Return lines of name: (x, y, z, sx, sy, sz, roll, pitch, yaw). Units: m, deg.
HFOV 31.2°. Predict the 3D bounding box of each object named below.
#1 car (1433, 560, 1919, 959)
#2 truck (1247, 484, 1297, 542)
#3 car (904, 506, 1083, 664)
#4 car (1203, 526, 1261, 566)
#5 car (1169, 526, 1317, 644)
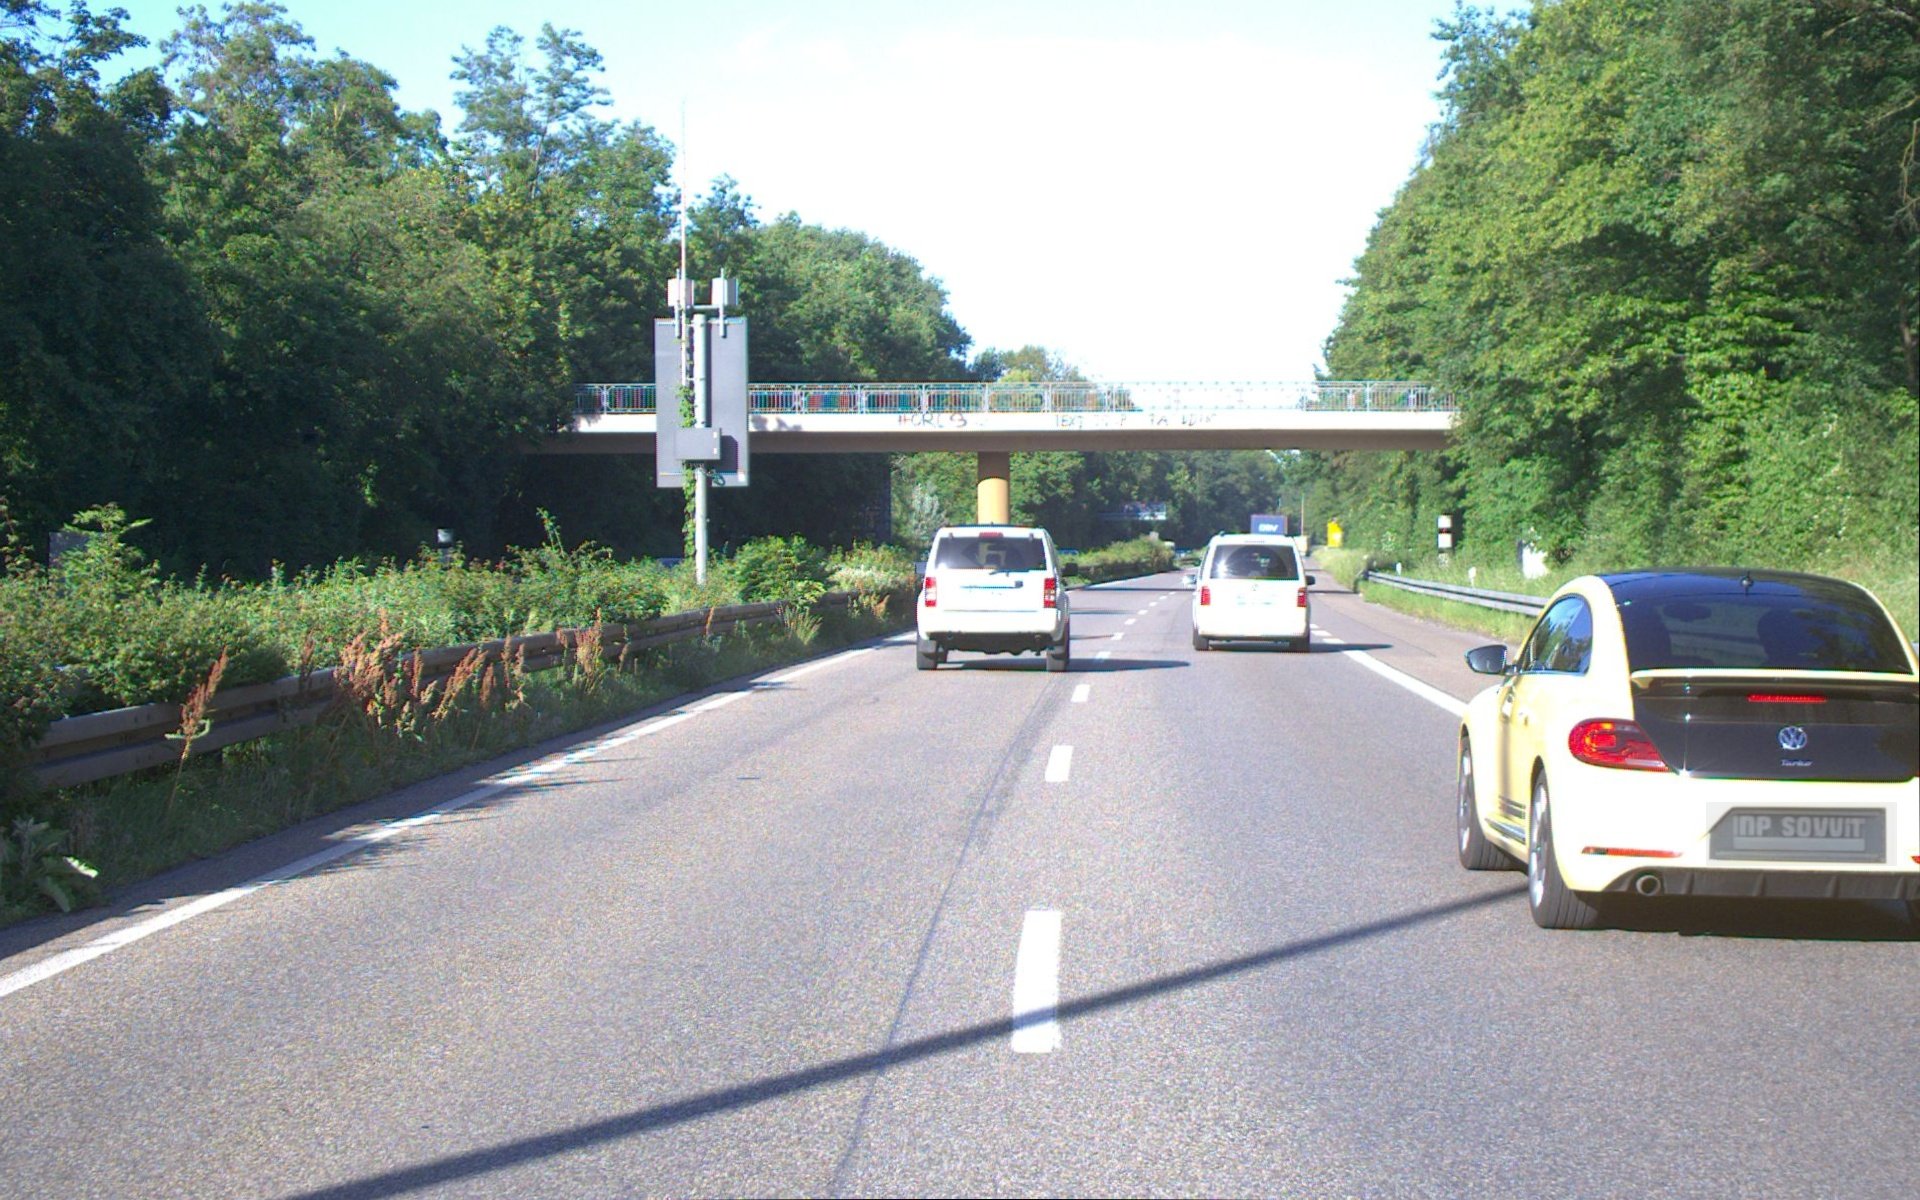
car: (3.281, 0.578, 15.084, 1.879, 1.456, 4.356, 1, 1, 1)
truck: (22.716, -6.281, 249.969, 3.496, 4.158, 8.860, 0, 1, 6)
car: (0.466, -0.213, 43.168, 2.085, 1.822, 4.000, 2, 1, 2)
car: (9.878, -1.946, 124.748, 1.994, 1.393, 3.999, 1, 0, 6)
car: (4.368, -0.258, 53.577, 1.863, 1.764, 4.470, 0, 1, -1)
